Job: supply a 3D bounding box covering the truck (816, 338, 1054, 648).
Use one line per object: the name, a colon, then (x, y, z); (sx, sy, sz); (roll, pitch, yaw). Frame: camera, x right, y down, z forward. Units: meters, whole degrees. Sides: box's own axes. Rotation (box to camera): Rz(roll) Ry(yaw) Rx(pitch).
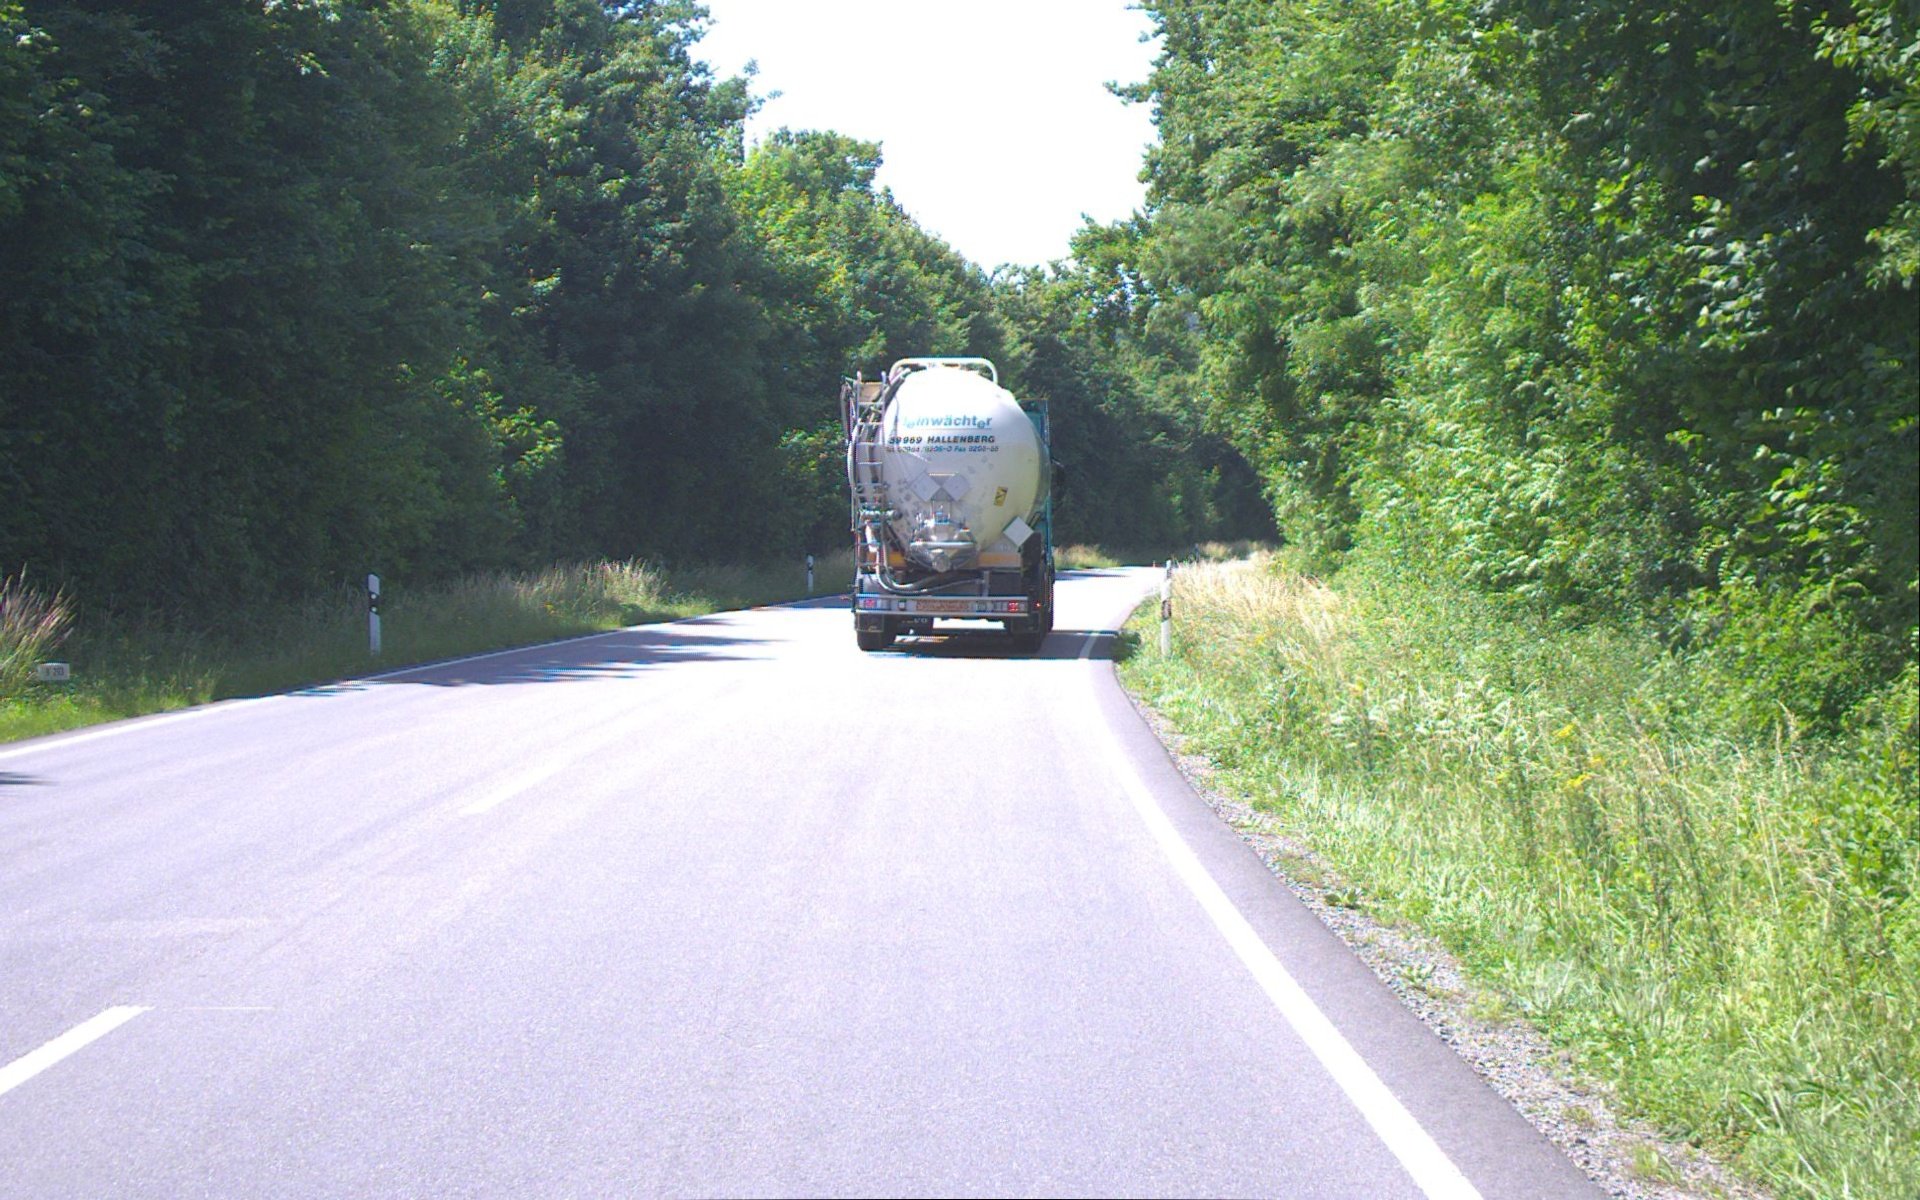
truck: (-0.264, -1.531, 52.160); (3.049, 3.984, 15.637); (0, 1, 0)
